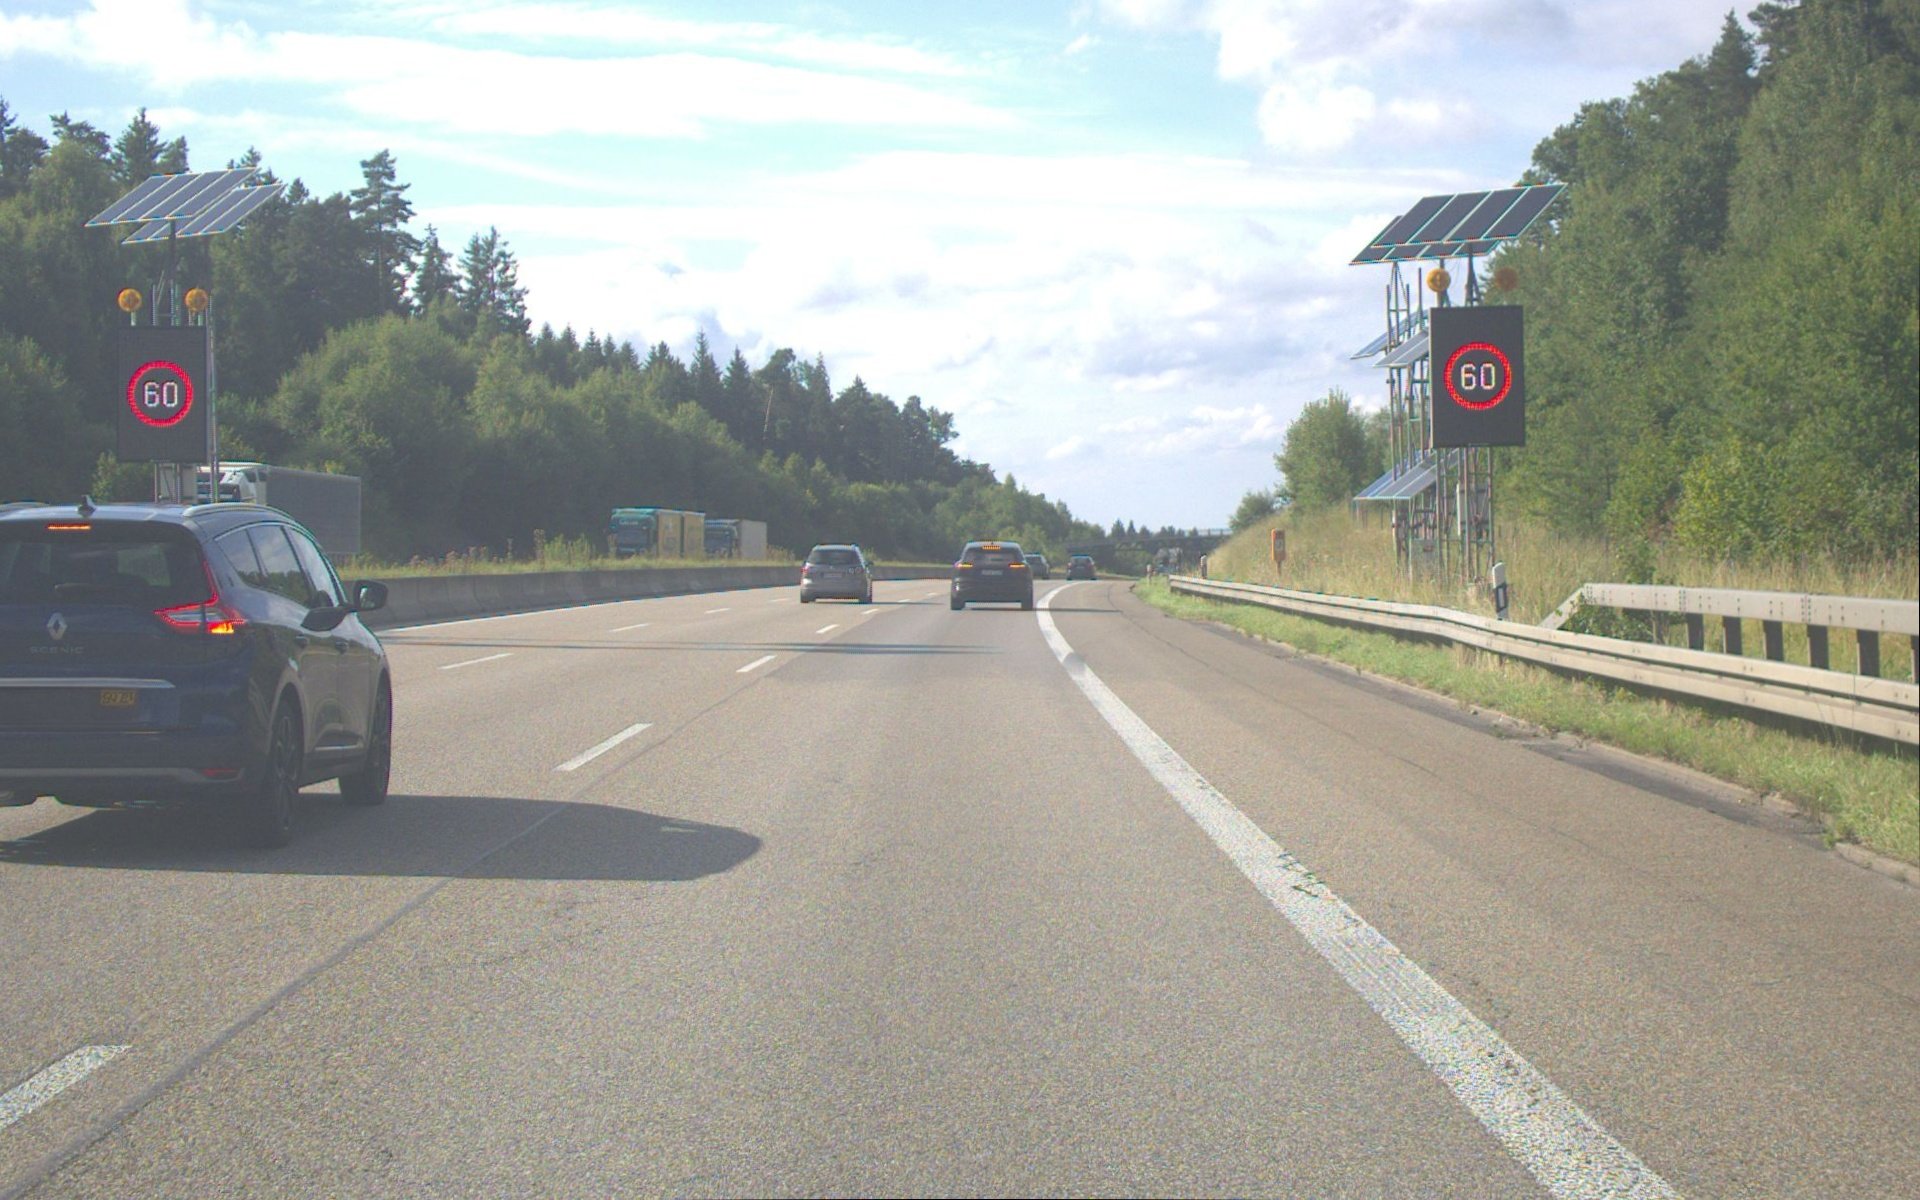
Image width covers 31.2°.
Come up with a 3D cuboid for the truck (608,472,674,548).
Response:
[{"bbox_3d":[-17.590,-4.960,189.973,2.649,4.072,6.416,0,1,3],"label":"truck"}]

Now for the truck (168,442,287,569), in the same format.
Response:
[{"bbox_3d":[-22.104,-2.833,103.983,2.279,3.716,5.532,0,1,2],"label":"truck"}]

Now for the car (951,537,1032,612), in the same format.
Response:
[{"bbox_3d":[0.766,-0.633,82.378,1.874,1.669,3.890,1,2,1],"label":"car"}]

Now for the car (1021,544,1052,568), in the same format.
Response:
[{"bbox_3d":[5.108,-2.961,229.454,1.874,1.492,3.879,1,2,4],"label":"car"}]

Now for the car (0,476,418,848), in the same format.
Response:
[{"bbox_3d":[-4.173,0.234,18.177,1.993,1.701,4.530,1,1,-2],"label":"car"}]

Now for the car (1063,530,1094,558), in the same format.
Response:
[{"bbox_3d":[7.459,-3.552,216.460,1.812,1.700,4.000,0,2,0],"label":"car"}]

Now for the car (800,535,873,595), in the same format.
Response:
[{"bbox_3d":[-3.271,-0.950,91.429,1.873,1.492,3.880,1,2,-1],"label":"car"}]
